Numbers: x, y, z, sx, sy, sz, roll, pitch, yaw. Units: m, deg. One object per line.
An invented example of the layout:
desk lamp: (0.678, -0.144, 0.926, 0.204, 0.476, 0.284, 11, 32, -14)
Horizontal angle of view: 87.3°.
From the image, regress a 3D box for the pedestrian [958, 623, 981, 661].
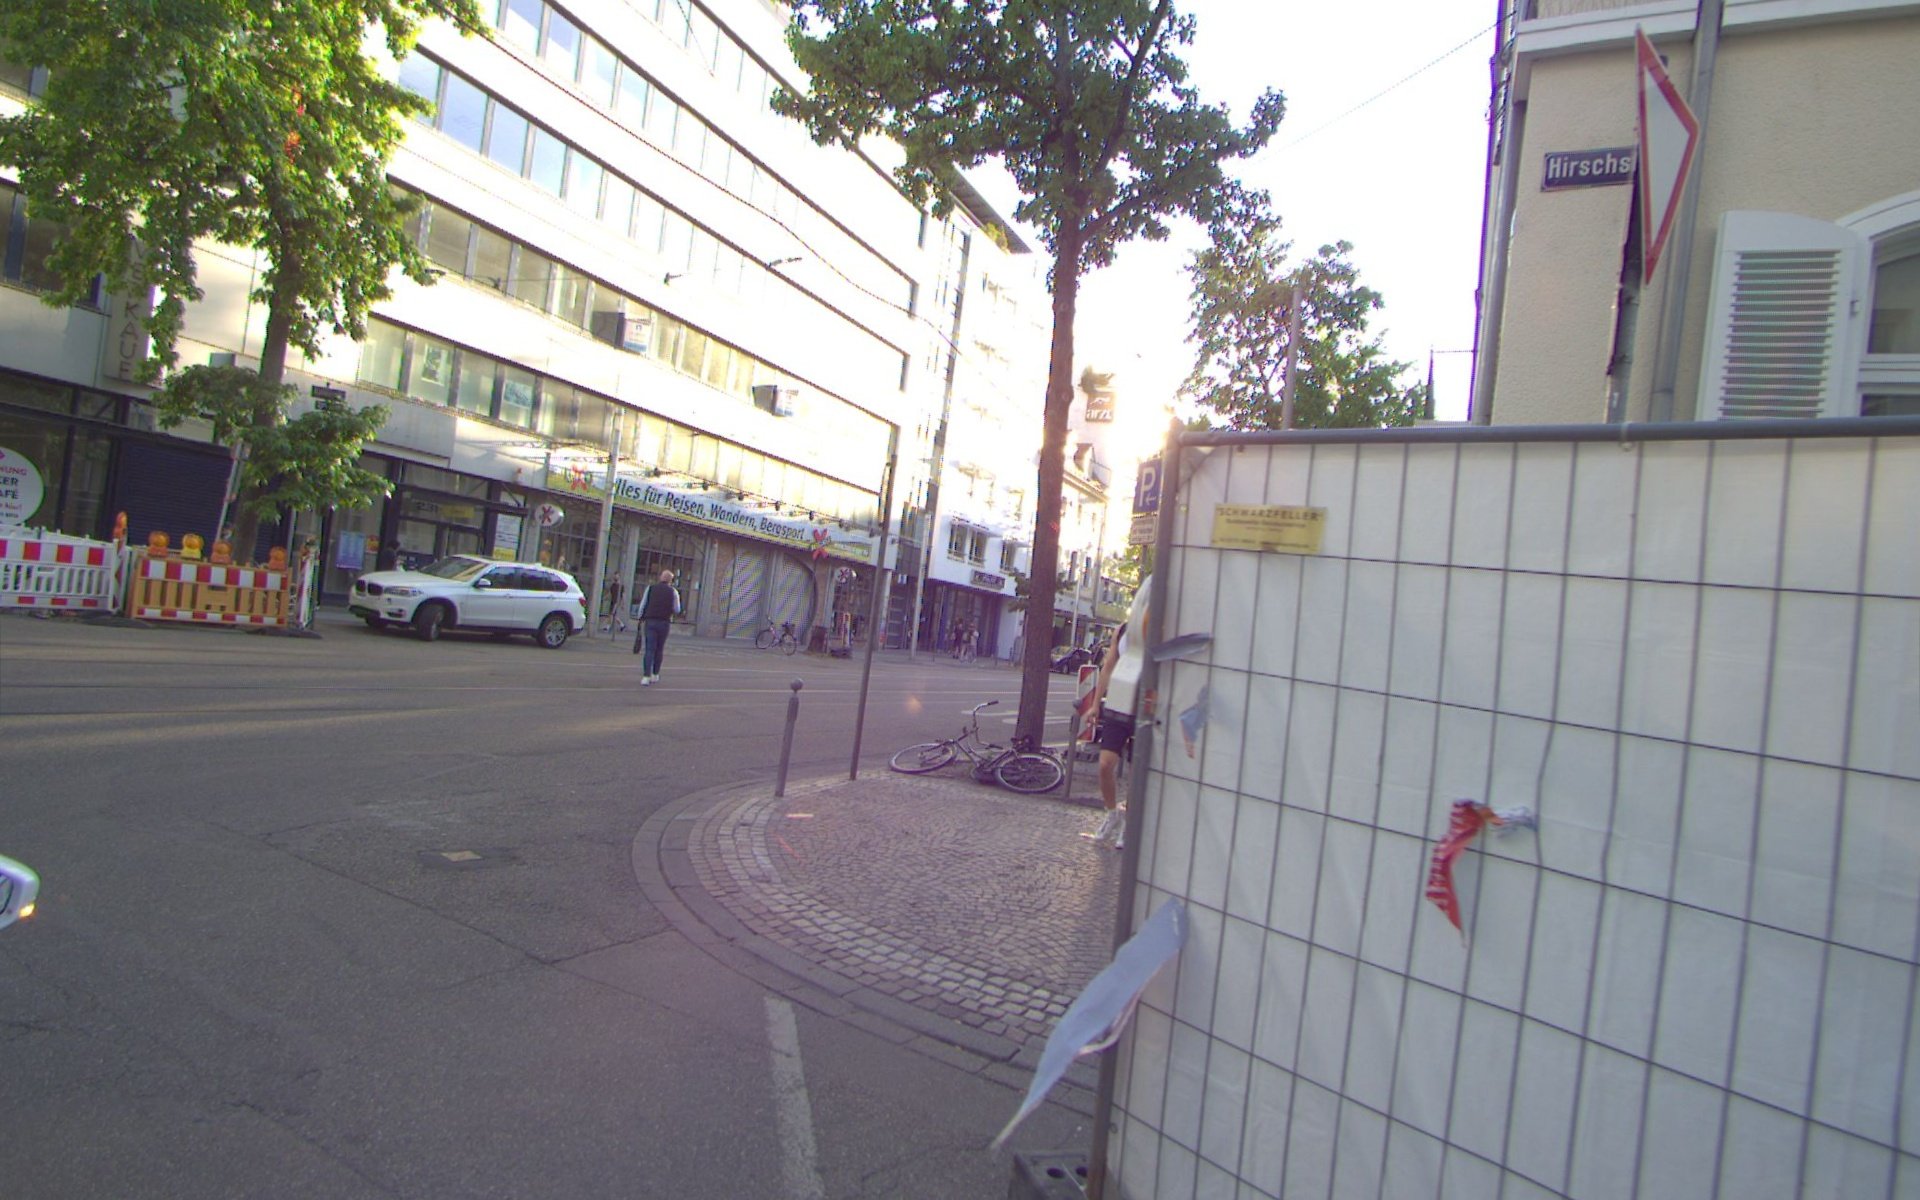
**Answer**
pedestrian: (0.459, 2.062, 49.233, 0.617, 1.798, 0.815, 7, 0, 25)

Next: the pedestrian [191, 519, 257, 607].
pedestrian: (-14.022, -0.702, 19.177, 0.568, 1.568, 0.707, 7, 0, 24)

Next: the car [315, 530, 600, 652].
car: (-10.243, -0.083, 20.998, 1.986, 1.796, 4.945, 9, -1, 27)

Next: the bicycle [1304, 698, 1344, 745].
bicycle: (8.429, 2.786, 23.229, 0.529, 0.964, 2.025, 5, -2, 28)

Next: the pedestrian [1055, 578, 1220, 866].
pedestrian: (1.307, 0.831, 7.253, 0.791, 1.842, 1.072, 6, 0, 23)

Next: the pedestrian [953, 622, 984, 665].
pedestrian: (0.370, 1.996, 46.113, 0.793, 1.798, 0.969, 7, 0, 39)

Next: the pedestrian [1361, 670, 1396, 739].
pedestrian: (11.574, 2.867, 27.793, 0.791, 1.798, 0.972, 3, -1, 24)

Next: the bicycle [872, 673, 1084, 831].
bicycle: (0.152, 1.449, 10.044, 1.375, 0.443, 1.683, -43, 28, -27)

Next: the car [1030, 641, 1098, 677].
car: (5.600, 3.173, 53.970, 1.704, 1.402, 3.647, 9, -1, 41)

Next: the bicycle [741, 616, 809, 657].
bicycle: (-5.866, 1.158, 31.905, 1.990, 0.964, 0.669, 10, 1, 25)

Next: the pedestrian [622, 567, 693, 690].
pedestrian: (-4.765, 0.426, 15.815, 0.794, 1.798, 1.067, 7, 0, -22)

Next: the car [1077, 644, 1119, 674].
car: (8.478, 3.588, 61.407, 1.798, 1.482, 3.732, 9, -1, 17)

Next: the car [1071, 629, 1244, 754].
car: (3.559, 1.615, 17.602, 1.729, 1.815, 3.649, 4, -3, 31)

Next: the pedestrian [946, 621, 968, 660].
pedestrian: (-0.143, 1.989, 49.497, 0.617, 1.798, 0.815, 7, 0, 25)

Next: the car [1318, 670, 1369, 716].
car: (17.684, 4.279, 46.335, 1.798, 1.770, 3.788, 7, -1, 25)
